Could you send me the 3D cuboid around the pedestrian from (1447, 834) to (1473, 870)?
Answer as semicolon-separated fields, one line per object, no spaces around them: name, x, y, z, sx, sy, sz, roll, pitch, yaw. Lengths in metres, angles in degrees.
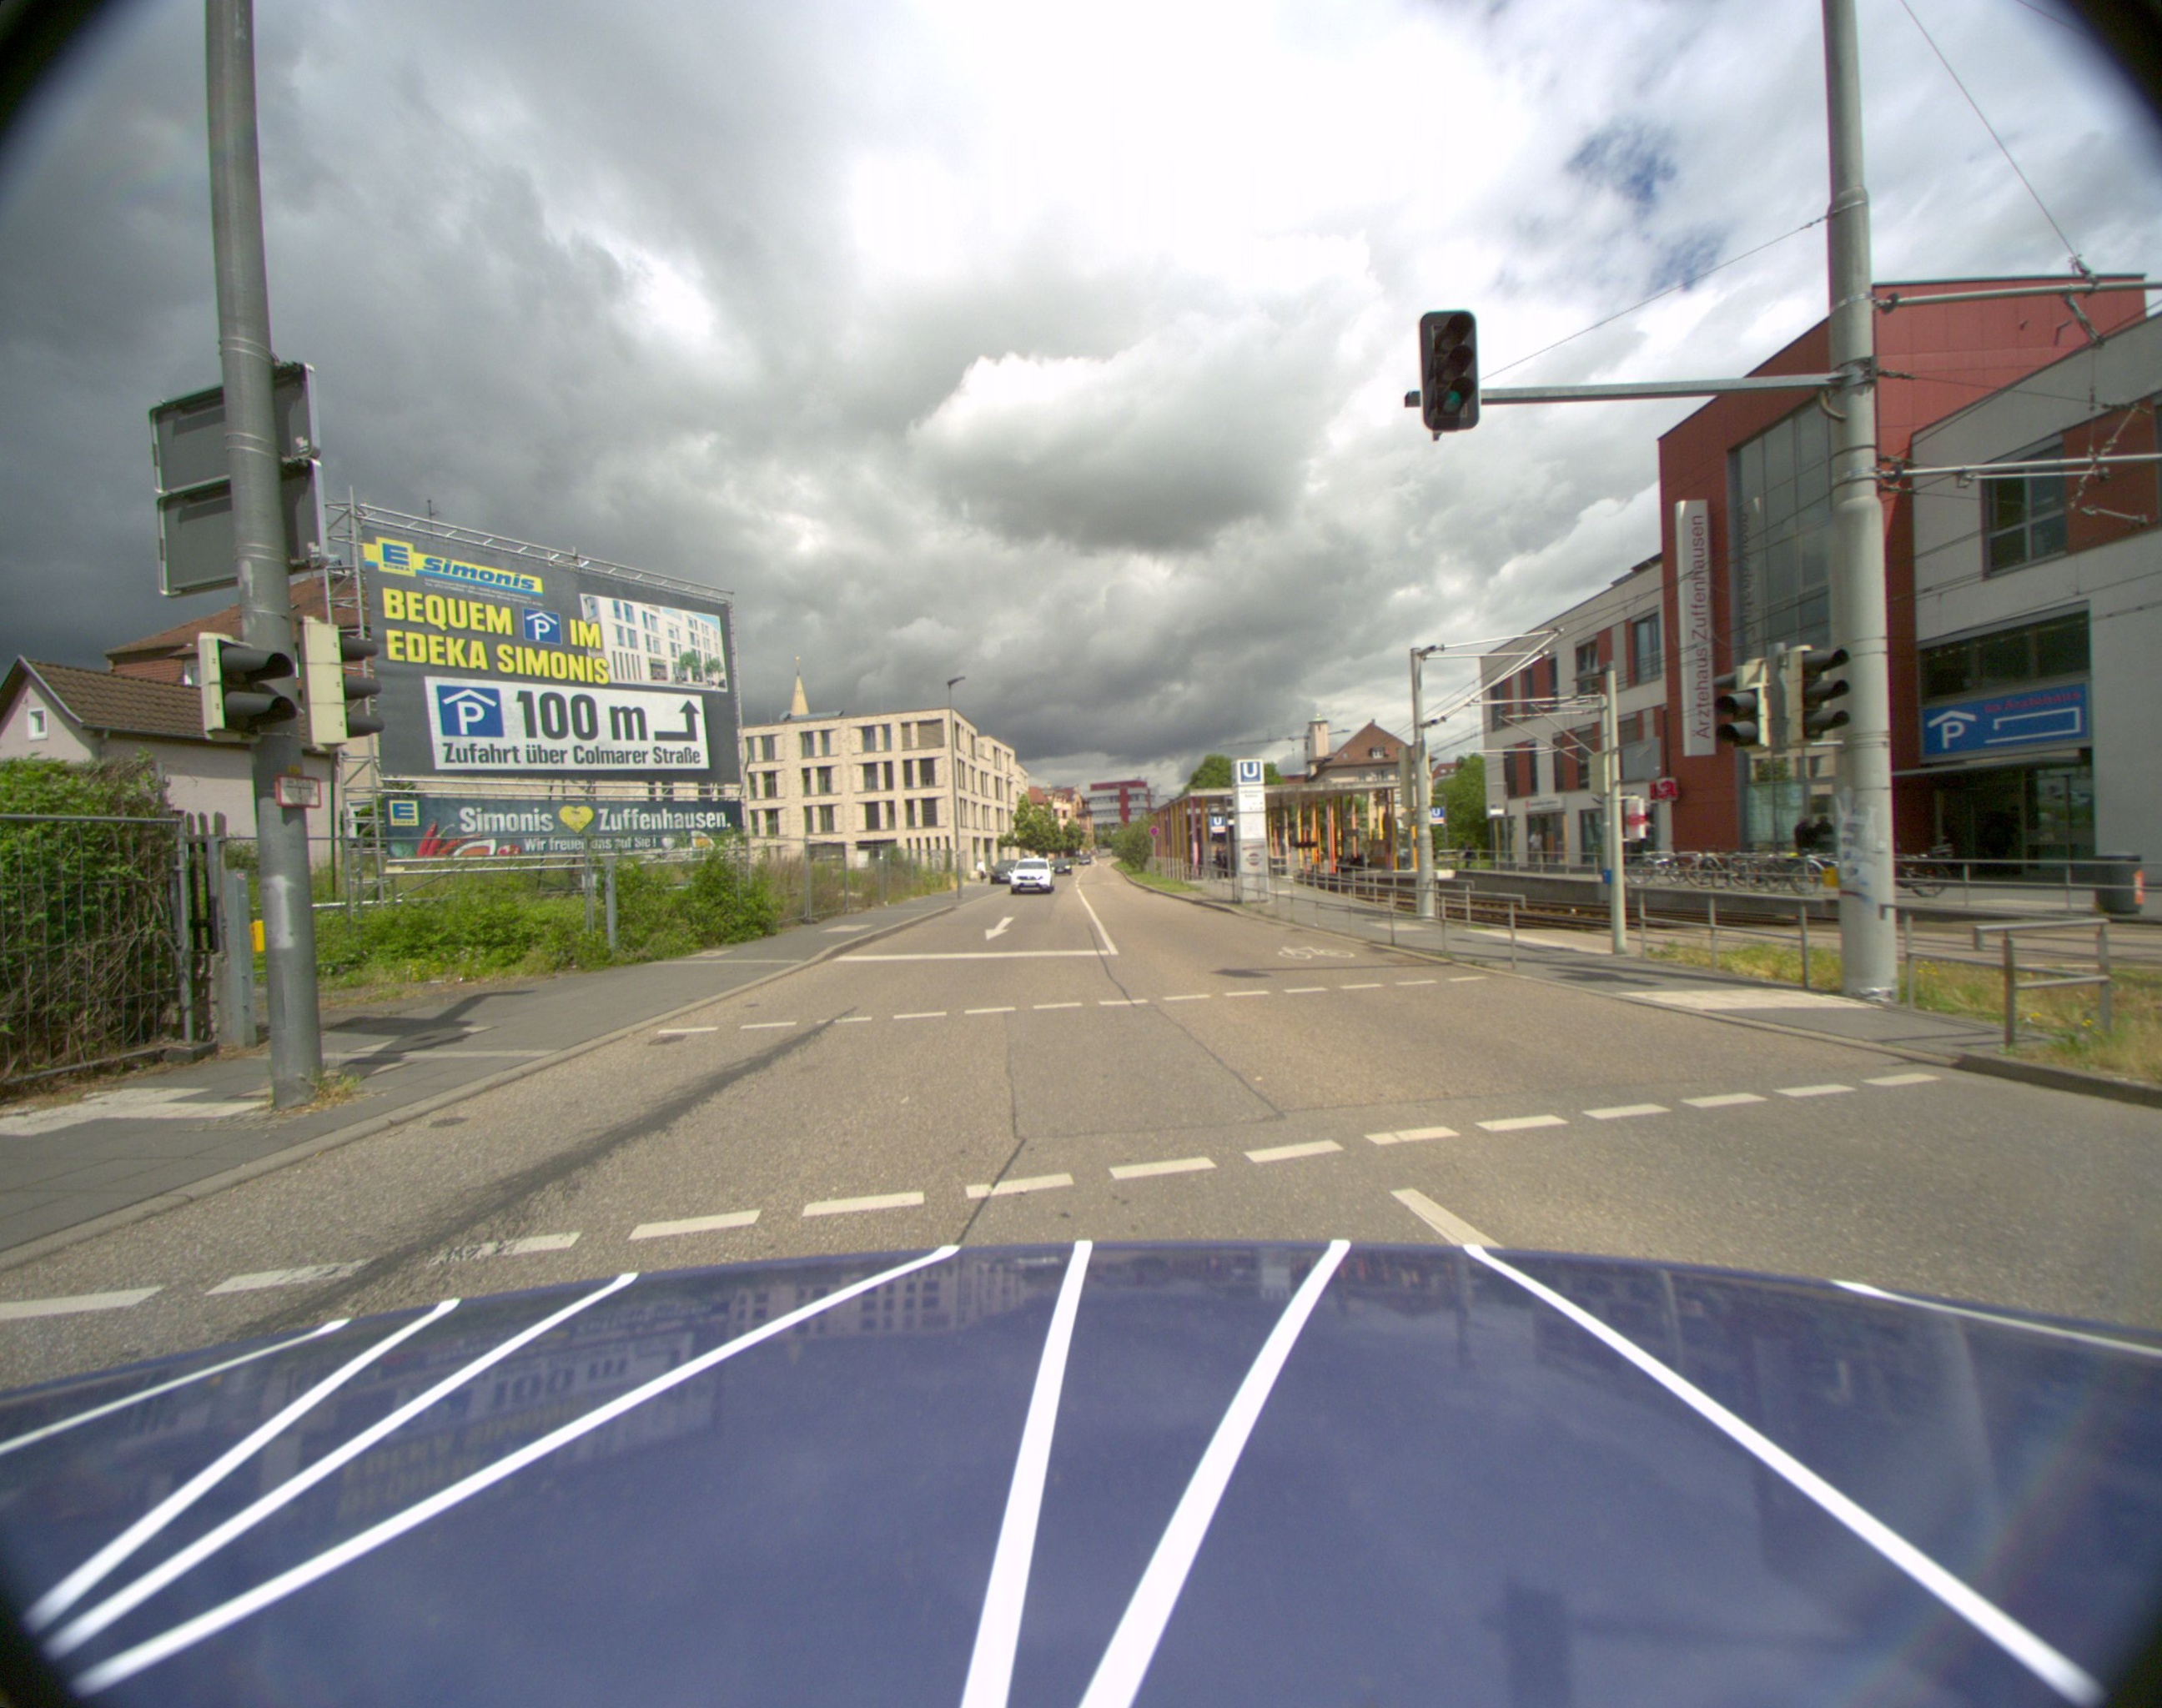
pedestrian;20.842;-0.109;41.820;0.864;1.957;1.105;-1;2;-1

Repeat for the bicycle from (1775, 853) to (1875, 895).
bicycle;17.640;0.473;18.037;1.862;0.930;0.454;-2;1;3

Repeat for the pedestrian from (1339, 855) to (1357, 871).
pedestrian;19.175;0.653;54.586;0.943;1.128;0.886;-2;0;2

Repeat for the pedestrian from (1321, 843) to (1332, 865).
pedestrian;22.614;-0.032;69.966;0.617;2.002;0.775;-2;0;-6

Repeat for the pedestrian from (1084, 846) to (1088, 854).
pedestrian;0.878;-0.711;140.687;0.673;1.503;0.783;-2;0;3

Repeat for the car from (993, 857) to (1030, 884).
car;-4.163;0.965;46.111;1.677;1.415;3.794;-1;1;3

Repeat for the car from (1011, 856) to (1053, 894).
car;-2.197;0.870;33.626;1.719;1.541;3.791;-1;0;-5

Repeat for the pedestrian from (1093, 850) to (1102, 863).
pedestrian;2.270;0.306;104.931;1.118;1.744;0.866;-2;0;-2

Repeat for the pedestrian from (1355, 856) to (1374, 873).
pedestrian;19.259;0.705;51.683;0.943;1.128;0.886;-2;0;2

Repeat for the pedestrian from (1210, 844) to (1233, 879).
pedestrian;7.696;0.401;41.642;1.105;1.903;0.864;-1;2;2

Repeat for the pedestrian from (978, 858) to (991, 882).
pedestrian;-6.208;0.995;48.713;0.673;1.503;0.782;-2;0;1

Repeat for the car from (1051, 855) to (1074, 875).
car;-1.487;0.862;62.035;1.678;1.425;3.794;-2;1;0

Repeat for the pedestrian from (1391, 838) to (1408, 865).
pedestrian;23.136;-0.201;55.245;0.863;1.957;1.106;-1;2;6

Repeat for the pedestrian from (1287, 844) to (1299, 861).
pedestrian;25.620;-0.219;91.957;1.127;2.002;1.179;-1;0;6

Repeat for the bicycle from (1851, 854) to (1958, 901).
bicycle;17.719;0.506;16.365;1.739;0.947;0.428;-2;1;3

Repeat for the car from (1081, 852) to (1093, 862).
car;0.878;0.473;109.570;1.677;1.299;3.794;-1;1;3

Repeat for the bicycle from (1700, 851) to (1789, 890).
bicycle;17.544;0.432;20.120;1.861;0.934;0.454;-2;1;5

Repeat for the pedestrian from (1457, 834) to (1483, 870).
pedestrian;21.434;-0.124;41.857;0.864;1.957;1.105;-1;2;-1

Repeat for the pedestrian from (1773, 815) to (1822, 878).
pedestrian;22.005;-0.236;23.339;0.881;1.835;0.862;-4;3;-27

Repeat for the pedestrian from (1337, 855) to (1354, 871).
pedestrian;19.252;0.631;55.338;0.943;1.128;0.886;-2;0;2

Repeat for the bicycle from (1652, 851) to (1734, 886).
bicycle;17.586;0.411;21.850;1.861;0.927;0.455;-2;1;9

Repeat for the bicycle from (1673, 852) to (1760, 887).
bicycle;17.561;0.426;21.021;1.861;0.917;0.455;-2;1;8

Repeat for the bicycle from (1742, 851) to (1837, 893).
bicycle;17.677;0.441;18.969;1.862;0.957;0.454;-2;1;3

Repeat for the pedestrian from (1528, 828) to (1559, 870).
pedestrian;22.124;-0.230;36.379;0.864;1.957;1.106;-1;2;3

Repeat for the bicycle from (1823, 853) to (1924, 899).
bicycle;17.707;0.492;16.998;1.739;0.952;0.428;-2;1;3

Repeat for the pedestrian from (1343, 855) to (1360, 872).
pedestrian;19.079;0.673;53.596;0.943;1.128;0.886;-2;0;2

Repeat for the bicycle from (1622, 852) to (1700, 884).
bicycle;17.527;0.425;22.978;1.861;0.876;0.455;-2;1;9

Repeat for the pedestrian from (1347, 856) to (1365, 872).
pedestrian;19.064;0.690;52.638;0.943;1.128;0.886;-2;0;2

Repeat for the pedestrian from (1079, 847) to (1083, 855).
pedestrian;0.015;-0.526;140.842;0.673;1.503;0.783;-2;0;3
